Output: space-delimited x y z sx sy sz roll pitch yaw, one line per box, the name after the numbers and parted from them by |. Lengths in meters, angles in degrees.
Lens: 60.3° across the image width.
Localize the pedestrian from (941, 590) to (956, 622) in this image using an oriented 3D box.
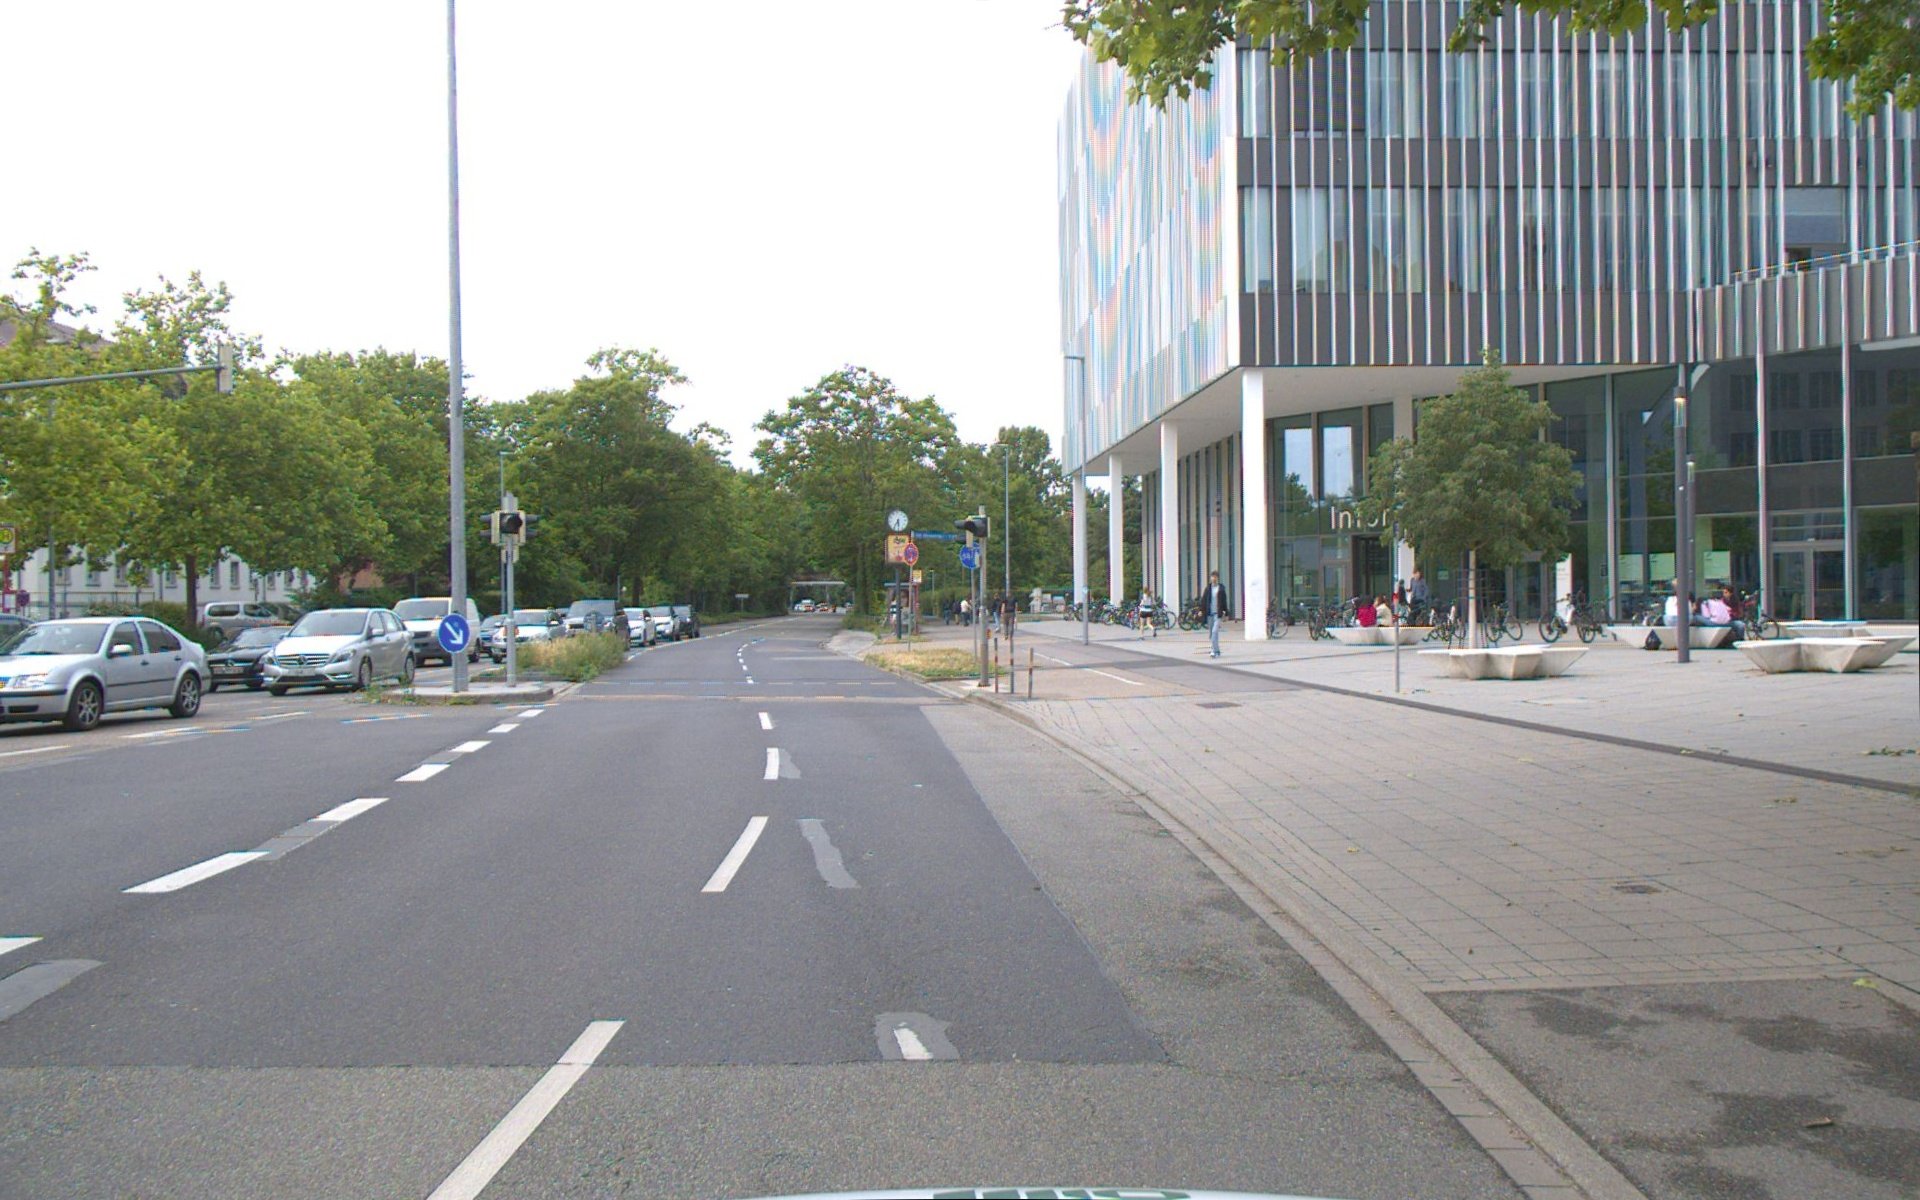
-0.727 0.383 105.859 0.808 2.049 0.719 -1 0 -8 | pedestrian

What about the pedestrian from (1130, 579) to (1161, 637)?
6.024 0.265 53.755 0.826 1.868 0.893 -1 0 -4 | pedestrian

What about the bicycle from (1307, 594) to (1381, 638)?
11.108 0.454 47.772 0.761 1.208 2.701 -1 0 44 | bicycle

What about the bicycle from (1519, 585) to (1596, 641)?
15.344 0.315 42.475 1.977 1.328 0.640 -3 2 -25 | bicycle

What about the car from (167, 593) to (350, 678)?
-14.708 0.702 34.923 1.952 1.648 4.002 -1 0 3 | car

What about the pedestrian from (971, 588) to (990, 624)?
1.202 0.333 96.069 0.908 2.049 1.038 -1 0 -8 | pedestrian

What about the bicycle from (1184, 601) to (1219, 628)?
9.052 0.546 61.975 1.476 0.945 0.434 -2 2 -43 | bicycle

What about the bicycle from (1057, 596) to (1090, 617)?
6.393 0.373 93.310 1.759 1.100 0.625 -3 0 -5 | bicycle

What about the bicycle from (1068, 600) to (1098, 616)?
6.830 0.441 92.192 1.576 0.890 0.555 -1 0 -7 | bicycle

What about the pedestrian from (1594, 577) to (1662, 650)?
13.065 0.267 32.367 0.893 1.391 0.876 1 0 -13 | pedestrian

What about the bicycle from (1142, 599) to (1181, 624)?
8.397 0.482 68.919 1.572 0.952 0.569 -4 1 7 | bicycle

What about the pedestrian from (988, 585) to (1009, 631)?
1.728 0.360 74.615 0.826 2.049 0.894 -1 0 -4 | pedestrian

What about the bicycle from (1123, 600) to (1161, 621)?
7.806 0.448 70.968 1.574 0.890 0.556 -1 0 -3 | bicycle

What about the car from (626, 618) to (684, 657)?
-13.579 1.653 73.758 1.954 1.574 4.177 -2 0 -3 | car

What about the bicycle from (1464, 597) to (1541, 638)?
14.344 0.449 43.707 2.165 1.023 0.773 -1 0 -34 | bicycle

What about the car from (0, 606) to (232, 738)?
-11.714 0.886 22.008 1.952 1.556 4.275 -1 0 3 | car

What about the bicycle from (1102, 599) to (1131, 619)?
7.271 0.409 76.712 1.257 0.890 0.556 -2 0 -3 | bicycle

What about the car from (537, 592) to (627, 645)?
-12.867 0.611 56.614 1.953 1.717 4.947 0 0 -1 | car

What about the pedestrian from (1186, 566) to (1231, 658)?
5.627 0.276 37.487 0.825 2.049 0.894 -1 0 -2 | pedestrian

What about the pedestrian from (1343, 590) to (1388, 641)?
10.001 0.385 40.790 0.827 1.227 0.892 -1 0 31 | pedestrian

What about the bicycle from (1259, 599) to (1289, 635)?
9.713 0.525 51.240 0.625 1.080 1.841 1 0 1 | bicycle

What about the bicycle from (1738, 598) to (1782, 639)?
18.734 0.435 38.724 0.500 0.914 1.541 -1 0 42 | bicycle

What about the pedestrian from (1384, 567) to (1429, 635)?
14.153 0.034 52.459 1.156 2.098 1.136 1 0 5 | pedestrian

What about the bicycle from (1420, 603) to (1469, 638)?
13.269 0.563 45.244 0.659 0.914 1.838 -1 0 38 | bicycle

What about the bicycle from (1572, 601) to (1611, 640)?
15.831 0.509 41.429 0.387 0.914 1.464 -1 0 42 | bicycle

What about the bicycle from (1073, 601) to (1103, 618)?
6.996 0.524 90.383 1.574 0.890 0.556 -2 0 -3 | bicycle

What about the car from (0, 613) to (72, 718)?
-14.680 0.969 23.761 1.814 1.489 3.697 -1 0 0 | car

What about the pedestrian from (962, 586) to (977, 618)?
0.603 0.144 105.835 0.807 2.049 0.719 -2 0 -4 | pedestrian

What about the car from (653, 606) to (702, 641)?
-14.061 1.143 82.456 1.865 1.621 4.513 -1 0 -3 | car

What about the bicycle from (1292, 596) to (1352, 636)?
10.770 0.458 49.155 0.723 1.135 2.169 -1 0 43 | bicycle

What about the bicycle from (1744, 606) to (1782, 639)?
18.842 0.519 38.814 0.482 0.703 1.179 -1 1 42 | bicycle

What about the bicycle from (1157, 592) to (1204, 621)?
9.624 0.289 72.148 1.949 1.164 0.645 -3 0 38 | bicycle

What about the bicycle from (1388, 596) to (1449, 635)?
12.736 0.417 45.927 0.761 1.019 1.946 -1 0 44 | bicycle

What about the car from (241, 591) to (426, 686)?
-11.987 0.688 31.946 1.917 1.611 4.255 -2 1 -1 | car

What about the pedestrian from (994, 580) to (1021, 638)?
1.711 0.326 59.750 0.825 2.048 0.894 -3 0 -2 | pedestrian

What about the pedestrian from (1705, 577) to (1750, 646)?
14.759 0.211 31.801 0.632 1.301 0.645 1 0 10 | pedestrian

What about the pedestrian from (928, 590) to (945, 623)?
-1.484 0.422 105.636 0.908 2.049 1.038 -1 0 -8 | pedestrian

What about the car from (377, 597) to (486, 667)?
-15.018 0.877 47.228 1.736 1.880 4.487 1 0 -2 | car

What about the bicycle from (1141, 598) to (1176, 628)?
7.590 0.507 63.385 0.597 1.098 1.955 -3 0 -14 | bicycle

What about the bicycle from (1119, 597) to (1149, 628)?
6.950 0.492 66.154 0.624 1.160 2.197 -4 0 -7 | bicycle

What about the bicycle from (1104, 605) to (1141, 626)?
7.251 0.678 73.800 1.574 0.890 0.556 -1 0 -3 | bicycle

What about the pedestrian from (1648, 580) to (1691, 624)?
13.983 0.044 32.598 0.620 0.838 0.734 -2 -1 12 | pedestrian

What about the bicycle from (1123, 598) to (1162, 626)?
7.928 0.524 71.961 1.610 1.110 0.572 -4 0 5 | bicycle

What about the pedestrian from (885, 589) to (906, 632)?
-3.183 0.504 81.560 0.894 2.048 0.853 -3 2 -4 | pedestrian

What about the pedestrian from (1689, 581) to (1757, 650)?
14.538 0.287 31.527 0.890 1.279 0.878 1 0 0 | pedestrian

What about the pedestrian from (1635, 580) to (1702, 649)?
13.412 0.270 31.338 0.890 1.279 0.878 1 0 0 | pedestrian

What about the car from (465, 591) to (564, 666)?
-12.899 0.798 48.134 1.954 2.049 3.997 -1 0 -3 | car

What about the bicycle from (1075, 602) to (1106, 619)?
7.005 0.565 88.780 1.574 0.890 0.556 -2 0 -3 | bicycle

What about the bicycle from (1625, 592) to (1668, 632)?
16.579 0.285 39.933 0.533 0.914 1.348 -1 0 42 | bicycle

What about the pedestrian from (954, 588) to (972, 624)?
0.176 0.361 95.807 0.908 2.049 1.038 -1 0 -8 | pedestrian

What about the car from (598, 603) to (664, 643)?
-12.832 0.880 64.740 1.866 1.491 4.907 1 0 -3 | car

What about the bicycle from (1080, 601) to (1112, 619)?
6.729 0.490 81.905 1.502 0.848 0.556 -2 0 -3 | bicycle

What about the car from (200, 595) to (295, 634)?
-31.515 0.637 73.226 3.516 1.630 1.650 1 0 -6 | car

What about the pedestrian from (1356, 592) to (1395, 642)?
10.408 0.418 41.413 0.872 1.214 0.846 -1 0 11 | pedestrian
